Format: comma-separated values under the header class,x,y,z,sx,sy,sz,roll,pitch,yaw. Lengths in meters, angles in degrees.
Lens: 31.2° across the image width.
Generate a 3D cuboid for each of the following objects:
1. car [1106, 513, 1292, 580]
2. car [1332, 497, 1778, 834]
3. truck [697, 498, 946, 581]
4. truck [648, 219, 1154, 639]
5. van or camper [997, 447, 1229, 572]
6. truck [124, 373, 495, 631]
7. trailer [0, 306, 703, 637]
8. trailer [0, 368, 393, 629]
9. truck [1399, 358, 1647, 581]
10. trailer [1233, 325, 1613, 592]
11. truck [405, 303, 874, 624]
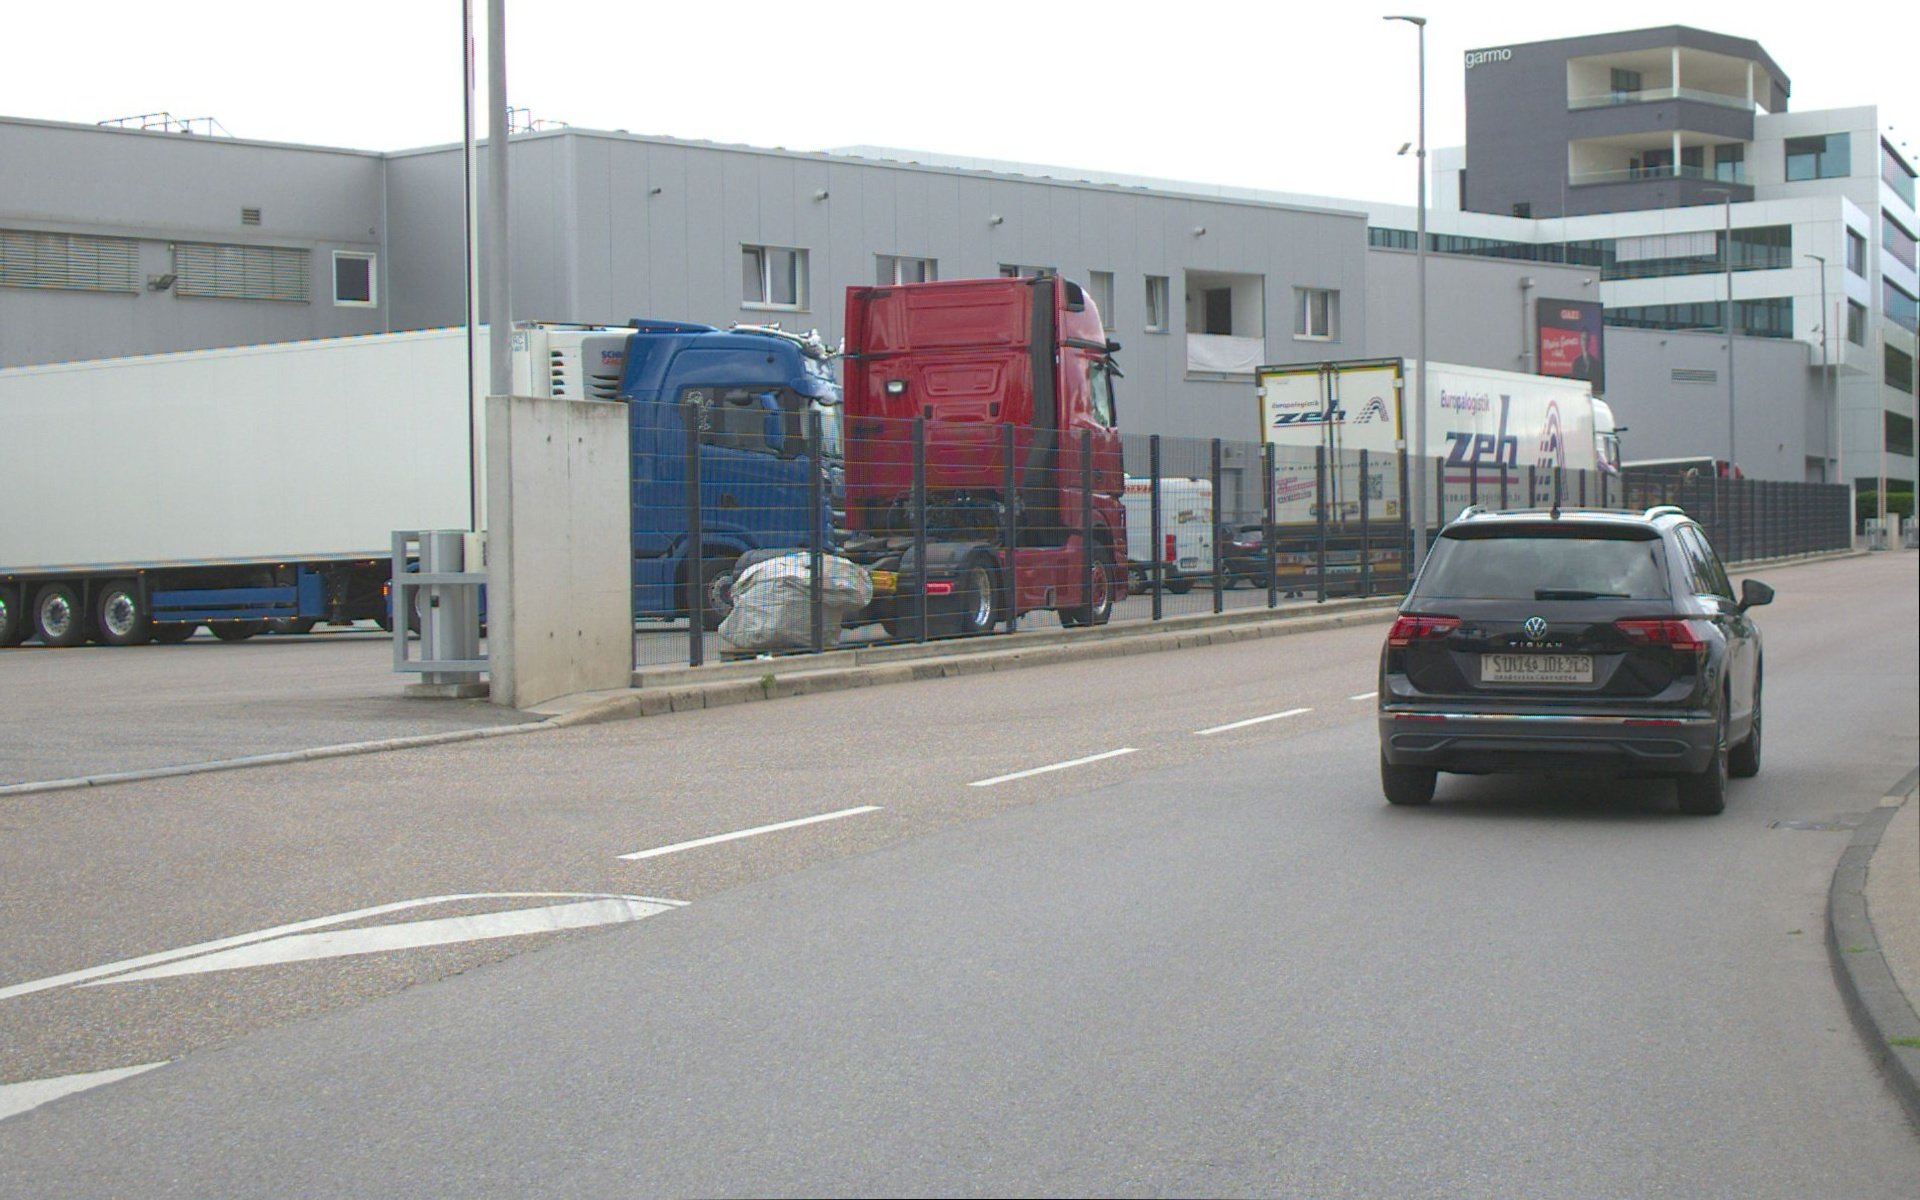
class,x,y,z,sx,sy,sz,roll,pitch,yaw
car,5.681,-1.270,81.834,3.996,1.546,1.995,0,1,40
car,3.489,0.262,19.491,1.995,1.678,4.368,0,2,16
truck,-2.888,-1.237,70.866,4.924,1.646,2.222,0,1,41
truck,-0.428,-1.708,36.589,2.925,4.006,6.934,0,1,22
van or camper,3.445,-2.023,78.030,4.983,2.753,2.099,0,1,39
truck,-10.516,-1.540,55.306,5.920,3.915,2.795,0,2,42
trailer,-10.153,-1.675,48.410,13.999,4.169,3.031,0,1,33
trailer,-15.061,-1.662,59.435,13.082,4.093,2.777,0,2,42
truck,11.606,-2.612,70.351,3.131,4.103,6.933,-4,-1,24
trailer,8.986,-2.504,64.362,3.136,4.247,14.003,-4,0,23
truck,-4.117,-1.744,44.970,5.598,4.006,2.931,0,1,6
